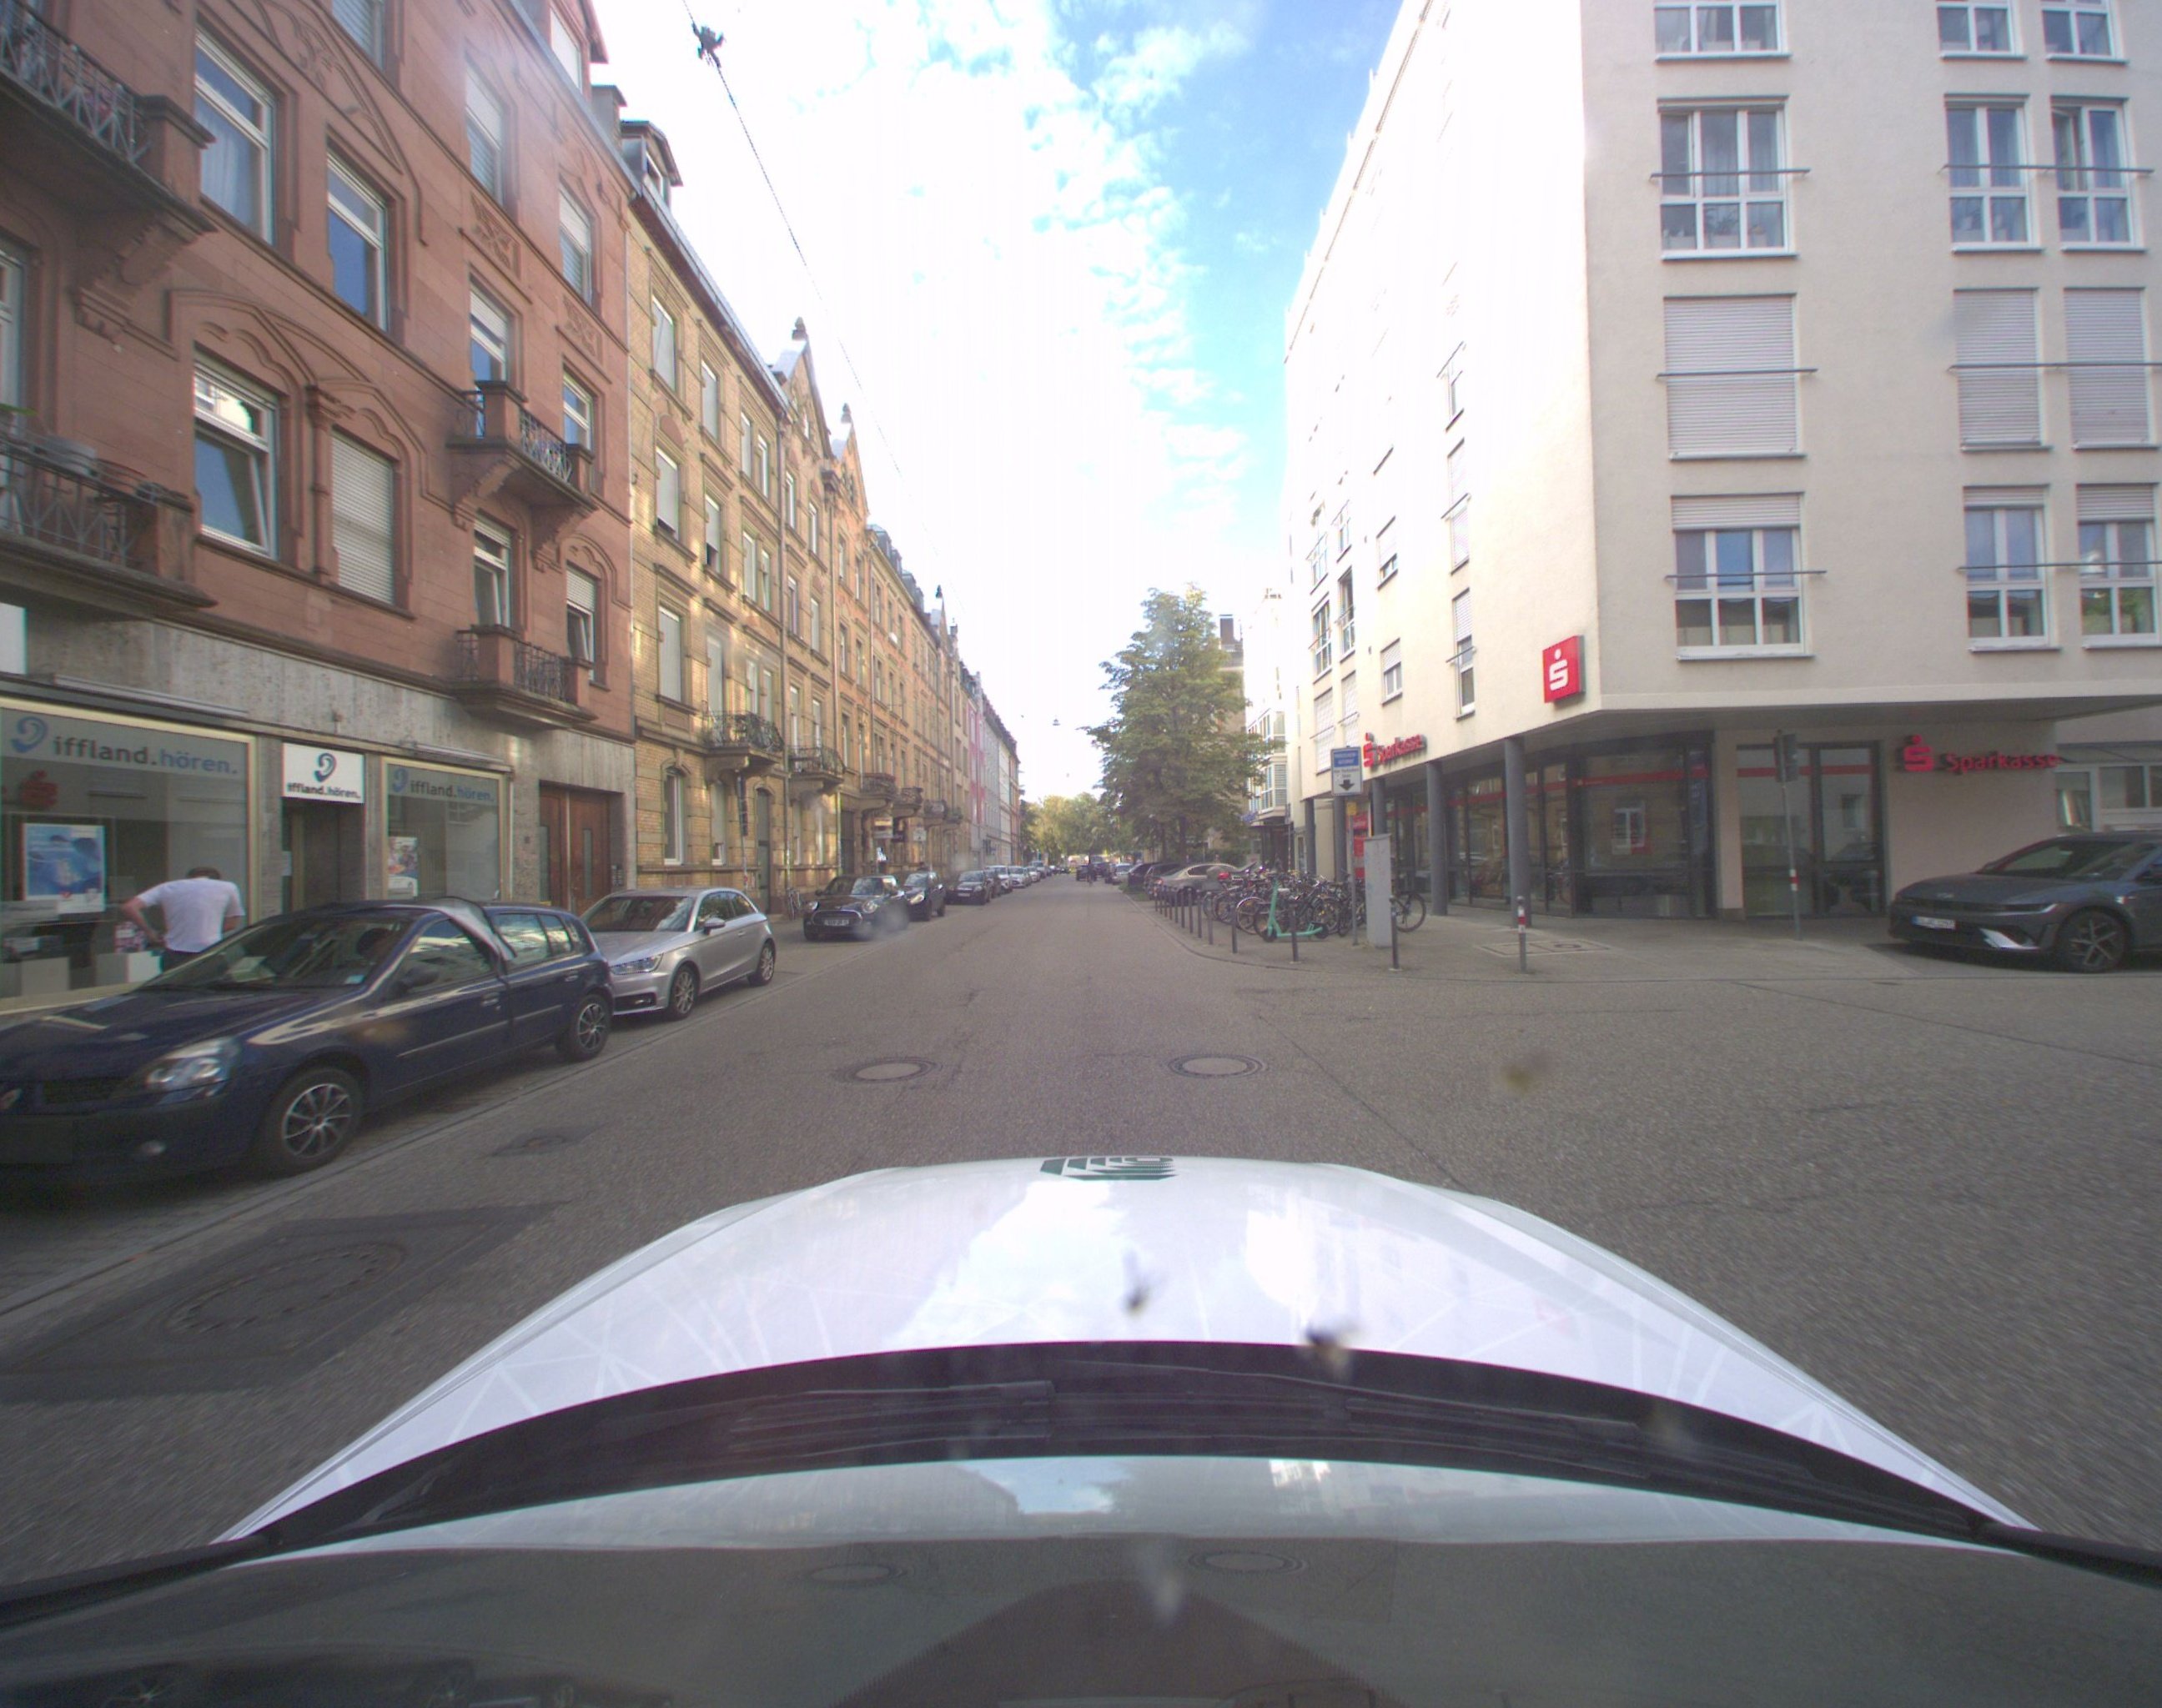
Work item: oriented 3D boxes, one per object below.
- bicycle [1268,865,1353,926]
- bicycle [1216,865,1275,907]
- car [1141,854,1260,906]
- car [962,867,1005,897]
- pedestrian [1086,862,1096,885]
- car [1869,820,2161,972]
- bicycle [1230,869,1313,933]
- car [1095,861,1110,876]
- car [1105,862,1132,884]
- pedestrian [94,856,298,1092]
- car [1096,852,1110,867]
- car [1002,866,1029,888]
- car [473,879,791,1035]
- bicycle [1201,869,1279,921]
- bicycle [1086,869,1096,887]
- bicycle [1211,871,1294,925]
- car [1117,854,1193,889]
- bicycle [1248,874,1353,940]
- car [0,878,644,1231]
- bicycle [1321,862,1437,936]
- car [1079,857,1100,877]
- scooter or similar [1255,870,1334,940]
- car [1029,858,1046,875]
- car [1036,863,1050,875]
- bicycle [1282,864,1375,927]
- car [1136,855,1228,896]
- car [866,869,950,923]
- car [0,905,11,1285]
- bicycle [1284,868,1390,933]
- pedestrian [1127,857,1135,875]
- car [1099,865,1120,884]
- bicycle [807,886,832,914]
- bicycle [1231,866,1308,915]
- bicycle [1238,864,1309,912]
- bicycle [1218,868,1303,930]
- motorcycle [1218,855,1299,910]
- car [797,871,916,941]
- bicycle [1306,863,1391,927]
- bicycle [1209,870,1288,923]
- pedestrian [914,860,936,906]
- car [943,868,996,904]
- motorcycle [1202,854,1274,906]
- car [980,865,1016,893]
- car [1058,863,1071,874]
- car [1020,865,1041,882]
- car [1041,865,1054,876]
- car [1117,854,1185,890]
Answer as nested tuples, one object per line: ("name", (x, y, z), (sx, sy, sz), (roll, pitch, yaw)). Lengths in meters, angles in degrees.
("bicycle", (4.879, 0.870, 17.289), (1.772, 1.146, 0.408), (-4, 0, -20))
("bicycle", (5.048, 0.983, 25.036), (1.658, 1.159, 0.557), (-4, 0, 1))
("car", (4.191, 0.907, 28.873), (3.761, 1.546, 1.724), (-3, -2, -11))
("car", (-5.036, 1.407, 42.358), (1.684, 1.369, 3.867), (2, 0, 0))
("pedestrian", (0.721, 1.414, 60.144), (0.715, 1.650, 0.930), (0, -1, 1))
("car", (12.842, 0.435, 10.108), (4.346, 1.630, 1.808), (-2, 1, 1))
("bicycle", (3.786, 0.933, 16.197), (1.493, 1.146, 0.411), (-4, 0, -5))
("car", (2.362, 1.608, 90.489), (1.583, 1.539, 3.751), (0, 0, -1))
("car", (2.844, 1.412, 62.035), (1.924, 1.638, 4.000), (0, 0, 0))
("pedestrian", (-7.110, 0.921, 6.594), (0.730, 1.790, 0.770), (2, -1, -7))
("car", (2.901, 0.750, 107.962), (1.777, 2.020, 3.886), (0, 0, -1))
("car", (-4.765, 1.691, 59.830), (1.685, 1.550, 3.866), (0, -1, 0))
("car", (-5.072, 1.062, 9.889), (1.684, 1.386, 3.867), (-1, 0, 0))
("bicycle", (3.968, 1.010, 20.390), (1.787, 1.159, 0.500), (-4, 0, 2))
("bicycle", (0.720, 1.743, 60.143), (0.715, 1.274, 1.884), (0, 0, 1))
("bicycle", (3.929, 1.000, 18.711), (1.758, 1.099, 0.412), (-4, 0, 2))
("car", (4.069, 0.967, 44.775), (3.968, 1.640, 2.003), (-4, -1, 5))
("bicycle", (3.989, 0.949, 14.815), (1.763, 1.057, 0.411), (-4, 0, -5))
("car", (-5.009, 0.973, 5.680), (1.736, 1.483, 3.983), (-1, 0, 0))
("bicycle", (5.257, 0.786, 14.420), (1.759, 1.162, 0.650), (-4, 0, 2))
("car", (0.794, 1.248, 77.163), (1.958, 1.741, 4.040), (-1, -1, 0))
("scooter or similar", (3.721, 0.894, 14.201), (1.194, 1.147, 0.381), (-4, 0, 31))
("car", (-4.814, 1.436, 91.273), (1.685, 1.821, 3.866), (0, -1, 0))
("car", (-4.911, 1.984, 106.352), (1.685, 1.550, 3.866), (0, -1, 0))
("bicycle", (5.098, 0.849, 16.788), (1.763, 1.146, 0.410), (-4, 0, -6))
("car", (4.613, 0.984, 37.427), (3.968, 1.583, 2.003), (-4, -1, 5))
("car", (-5.175, 1.220, 24.796), (1.684, 1.437, 3.867), (-1, 0, 0))
("car", (-5.123, 0.951, 1.227), (1.736, 1.483, 3.983), (-1, 0, 0))
("bicycle", (4.831, 0.868, 15.463), (1.759, 1.087, 0.650), (-4, 0, 2))
("pedestrian", (6.458, 1.532, 104.770), (0.992, 2.230, 0.899), (0, -1, 1))
("car", (2.294, 1.649, 66.426), (1.684, 1.550, 3.688), (0, -1, 1))
("bicycle", (-8.918, 1.574, 27.843), (0.434, 0.898, 1.295), (1, -1, -1))
("bicycle", (4.803, 0.942, 20.802), (1.777, 1.159, 0.503), (-4, 0, 26))
("bicycle", (5.151, 0.896, 21.799), (1.726, 1.159, 0.500), (-4, 0, 1))
("bicycle", (3.832, 0.939, 17.349), (1.772, 1.146, 0.408), (-4, 0, -20))
("motorcycle", (5.154, 0.807, 23.709), (2.140, 1.435, 0.766), (-4, 0, 4))
("car", (-5.124, 1.139, 19.079), (1.684, 1.386, 3.867), (-1, 0, 0))
("bicycle", (5.333, 0.809, 16.251), (1.490, 1.146, 0.411), (-4, 0, 0))
("bicycle", (3.993, 1.004, 19.456), (1.758, 1.118, 0.412), (-4, 0, 2))
("pedestrian", (-6.343, 1.175, 33.086), (0.686, 1.853, 0.931), (0, -1, 2))
("car", (-4.808, 1.354, 35.483), (1.684, 1.369, 3.867), (2, 0, 0))
("motorcycle", (5.127, 0.837, 26.686), (2.140, 1.530, 0.687), (-4, 0, 4))
("car", (-4.778, 1.432, 47.483), (1.684, 1.550, 3.867), (0, 0, 0))
("car", (-2.448, 2.158, 121.319), (1.848, 1.621, 4.000), (0, 0, 1))
("car", (-4.623, 1.799, 74.800), (1.685, 1.550, 3.866), (0, -1, 0))
("car", (-4.764, 2.337, 117.428), (1.581, 1.539, 3.754), (0, 0, 2))
("car", (4.239, 1.078, 49.602), (3.969, 1.683, 1.740), (-4, 7, 4))
